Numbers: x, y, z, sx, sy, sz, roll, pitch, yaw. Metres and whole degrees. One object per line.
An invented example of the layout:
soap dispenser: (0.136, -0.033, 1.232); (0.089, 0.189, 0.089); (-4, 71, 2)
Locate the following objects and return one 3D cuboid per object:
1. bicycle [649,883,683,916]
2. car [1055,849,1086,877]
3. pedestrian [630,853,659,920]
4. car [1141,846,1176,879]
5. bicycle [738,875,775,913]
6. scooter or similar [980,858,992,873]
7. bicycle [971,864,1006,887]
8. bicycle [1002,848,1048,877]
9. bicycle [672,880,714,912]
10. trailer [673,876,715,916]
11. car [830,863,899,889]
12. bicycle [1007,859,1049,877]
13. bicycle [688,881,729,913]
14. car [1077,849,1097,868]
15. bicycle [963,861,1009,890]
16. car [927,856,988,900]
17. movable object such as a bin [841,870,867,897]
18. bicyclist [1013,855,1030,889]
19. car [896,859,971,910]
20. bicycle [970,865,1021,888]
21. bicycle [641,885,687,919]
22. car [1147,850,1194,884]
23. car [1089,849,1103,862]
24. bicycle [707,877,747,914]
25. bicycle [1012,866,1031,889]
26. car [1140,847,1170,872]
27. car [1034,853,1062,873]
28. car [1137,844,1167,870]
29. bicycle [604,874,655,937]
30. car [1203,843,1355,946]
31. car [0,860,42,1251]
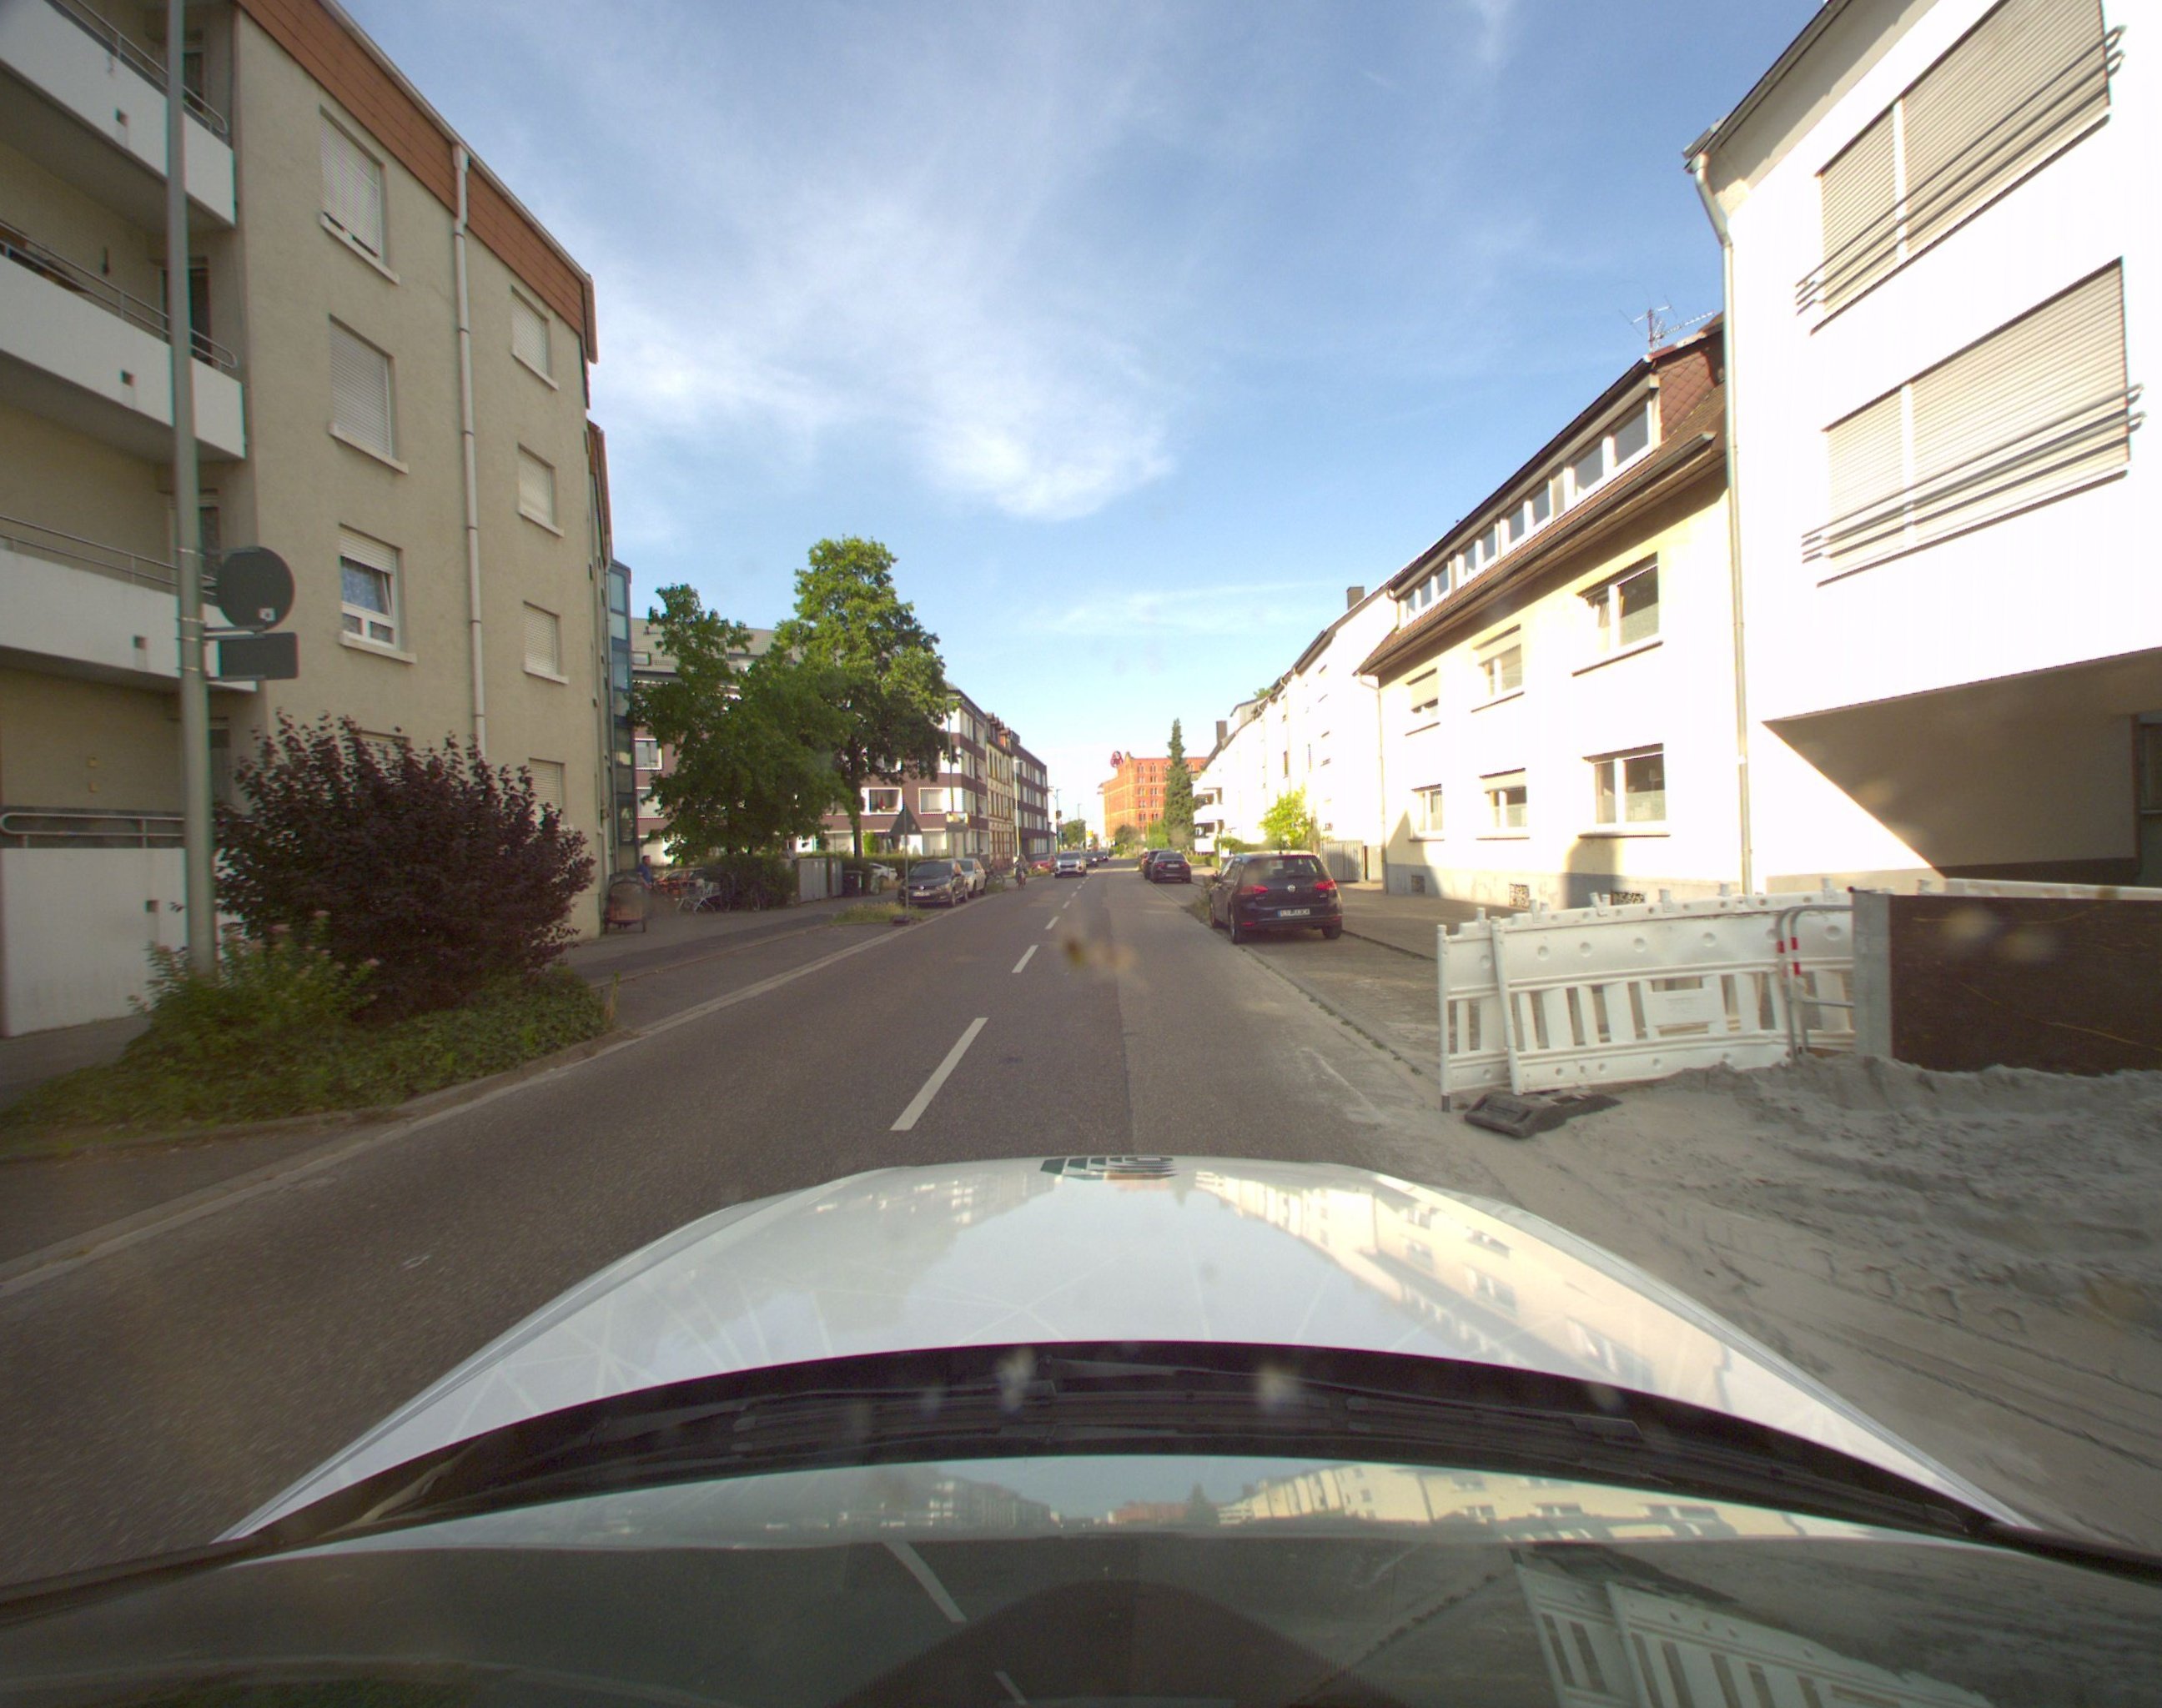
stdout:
bicycle: (-11.740, 1.279, 23.044); (1.224, 0.881, 0.466); (-2, 0, 45)
car: (-0.634, 0.563, 52.036); (1.757, 1.616, 4.002); (-3, 0, 2)
pedestrian: (-11.473, 0.848, 21.415); (0.440, 1.723, 0.527); (0, 0, 12)
car: (4.155, 0.437, 44.017); (1.595, 1.646, 3.686); (-2, 0, 2)
bicycle: (-9.672, 1.175, 24.334); (0.460, 1.023, 1.681); (-2, 0, -2)
scooter or similar: (-7.256, 0.870, 62.244); (0.631, 1.103, 1.611); (0, 0, 2)
bicycle: (-4.457, 1.036, 39.174); (1.582, 1.041, 0.707); (-2, 0, -4)
bicycle: (-3.720, 0.558, 54.414); (2.906, 1.777, 1.203); (-3, 0, 2)
bicycle: (-11.636, 1.245, 24.449); (0.460, 0.851, 1.681); (-2, 0, -2)
trailer: (-10.819, 1.176, 22.781); (0.579, 1.056, 0.914); (-2, 0, 17)
car: (-12.304, 1.213, 46.300); (3.469, 1.288, 1.648); (-2, 0, -30)
bicycle: (-3.640, 0.949, 56.184); (2.762, 1.144, 1.144); (-3, 0, 2)
bicycle: (-11.131, 1.269, 24.369); (0.460, 0.851, 1.681); (-2, 0, -2)
car: (0.585, 0.416, 78.390); (1.757, 1.616, 4.002); (-3, 0, 2)
bicycle: (-4.373, 0.991, 37.581); (1.997, 1.217, 0.707); (-2, 0, -4)
car: (-4.662, 0.859, 31.339); (1.671, 1.501, 4.000); (-2, 0, 0)
movable object such as a bin: (-8.967, 1.159, 32.163); (0.749, 1.040, 0.817); (1, 0, 2)
bicyclist: (-2.644, 0.799, 36.269); (0.588, 1.442, 0.751); (-2, 0, 3)
car: (-4.590, 0.895, 25.831); (1.568, 1.420, 3.805); (-2, 0, 1)
bicycle: (-4.009, 1.062, 38.450); (2.335, 0.970, 0.707); (-2, 0, -4)
bicycle: (-11.253, 1.283, 21.969); (1.435, 0.851, 0.466); (0, 1, 35)
car: (4.226, 0.588, 38.818); (1.852, 1.472, 4.001); (-3, 0, 1)
car: (1.983, 0.144, 108.342); (1.757, 1.616, 4.002); (-3, 0, 2)
bicycle: (-10.532, 1.225, 24.283); (0.460, 0.993, 1.681); (-2, 0, -2)
bicycle: (-2.632, 1.049, 36.198); (0.606, 0.942, 1.812); (-2, 0, 3)
car: (5.076, 0.353, 56.156); (1.757, 1.526, 4.002); (-3, 0, 2)
car: (-2.550, 0.686, 63.997); (1.833, 1.464, 3.586); (-2, 0, 2)
car: (5.249, 0.223, 60.426); (1.986, 1.772, 4.003); (-2, 0, 2)
bicycle: (-9.795, 1.090, 17.666); (0.893, 1.249, 1.200); (-2, 0, -29)
car: (3.300, 0.608, 14.348); (1.822, 1.482, 3.945); (-3, 0, 3)
car: (-5.345, 0.855, 1.297); (1.680, 1.603, 4.371); (-1, 0, 1)
